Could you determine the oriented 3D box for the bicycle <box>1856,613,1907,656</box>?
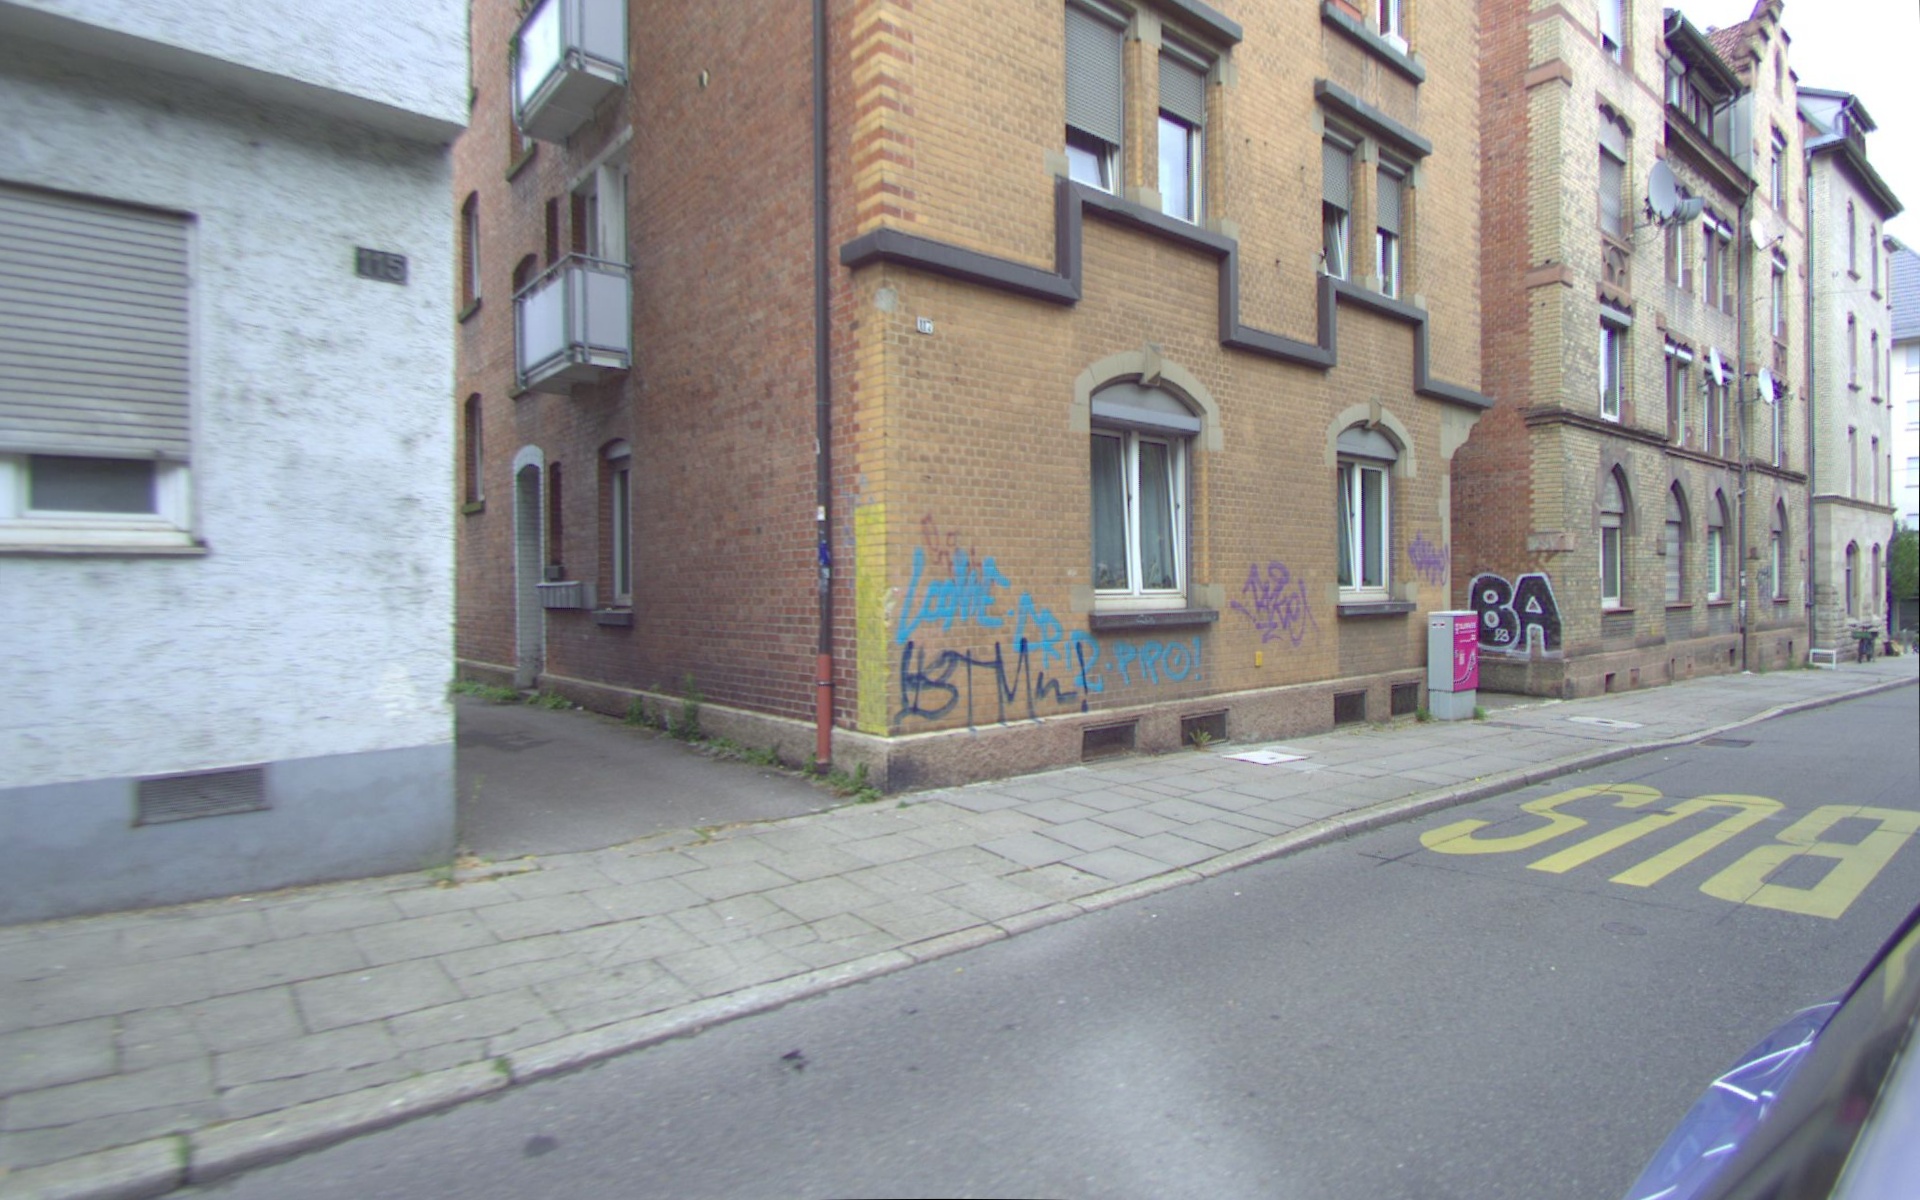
[{"bbox_3d":[26.651,0.978,29.266,2.438,1.164,0.683,0,0,-38],"label":"bicycle"}]

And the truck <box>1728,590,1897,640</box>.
[{"bbox_3d":[40.004,0.772,47.614,2.512,2.134,5.842,2,-4,-45],"label":"truck"}]

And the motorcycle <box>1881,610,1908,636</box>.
[{"bbox_3d":[45.591,1.108,49.380,1.895,1.211,0.591,1,2,-37],"label":"motorcycle"}]

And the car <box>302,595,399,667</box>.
[{"bbox_3d":[-14.281,0.643,23.616,1.798,1.495,4.001,0,0,-33],"label":"car"}]
